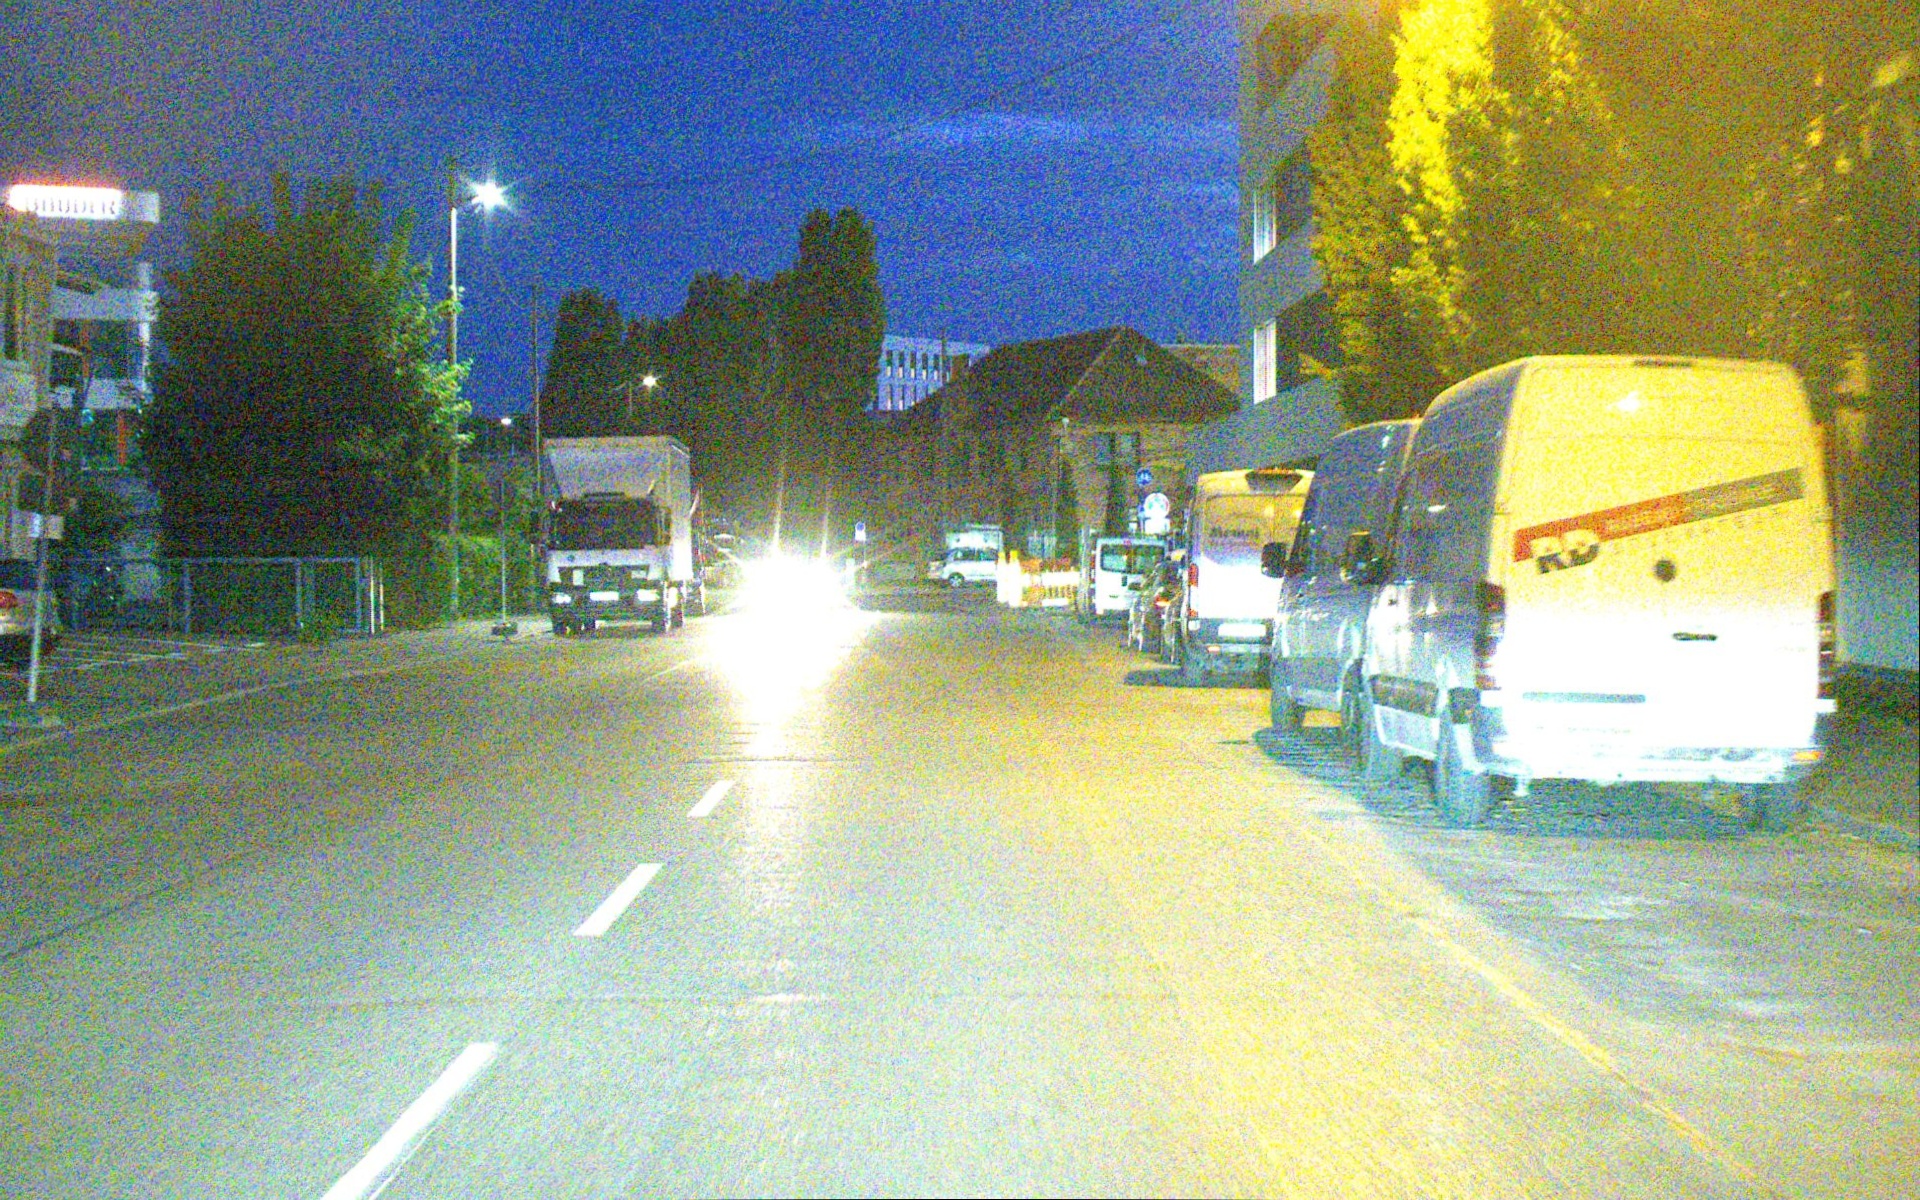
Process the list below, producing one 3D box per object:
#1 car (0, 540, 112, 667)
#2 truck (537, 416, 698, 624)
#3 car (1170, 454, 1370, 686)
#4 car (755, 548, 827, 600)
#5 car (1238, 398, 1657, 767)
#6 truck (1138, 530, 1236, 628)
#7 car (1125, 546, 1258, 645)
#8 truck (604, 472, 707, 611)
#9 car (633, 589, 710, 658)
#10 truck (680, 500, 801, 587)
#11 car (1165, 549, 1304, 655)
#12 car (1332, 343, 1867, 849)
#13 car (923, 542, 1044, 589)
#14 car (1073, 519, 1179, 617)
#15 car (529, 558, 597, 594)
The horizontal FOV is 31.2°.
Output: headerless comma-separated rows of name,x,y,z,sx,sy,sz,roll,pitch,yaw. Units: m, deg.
car,-12.963,-0.068,42.990,4.132,1.427,1.895,5,2,18
truck,-6.998,-1.617,71.437,2.746,4.020,9.561,0,1,-2
car,3.668,-0.381,41.683,1.994,2.517,5.909,3,1,2
car,-4.625,-0.722,94.716,1.857,1.415,4.000,0,1,-1
car,3.753,-0.178,27.705,2.128,2.562,5.910,3,1,-3
truck,3.924,-0.372,59.857,1.370,1.639,3.812,0,1,-1
car,3.626,-0.103,54.600,1.946,1.484,5.010,0,1,2
truck,-9.481,-1.801,106.372,2.772,4.106,9.343,0,1,-7
car,-7.567,0.595,90.346,1.943,1.711,5.199,0,1,-5
truck,-9.839,-2.482,153.071,2.754,3.770,9.139,-1,1,-21
car,3.829,0.000,48.543,1.769,1.407,4.550,0,1,2
car,3.674,-0.070,21.019,1.993,2.562,6.014,3,1,0
car,0.935,-1.366,136.457,4.325,1.640,1.893,-3,2,-22
car,3.521,-0.692,73.786,1.993,2.007,4.912,-1,1,0
car,-15.423,-0.928,133.488,1.814,1.366,4.362,0,1,-18
